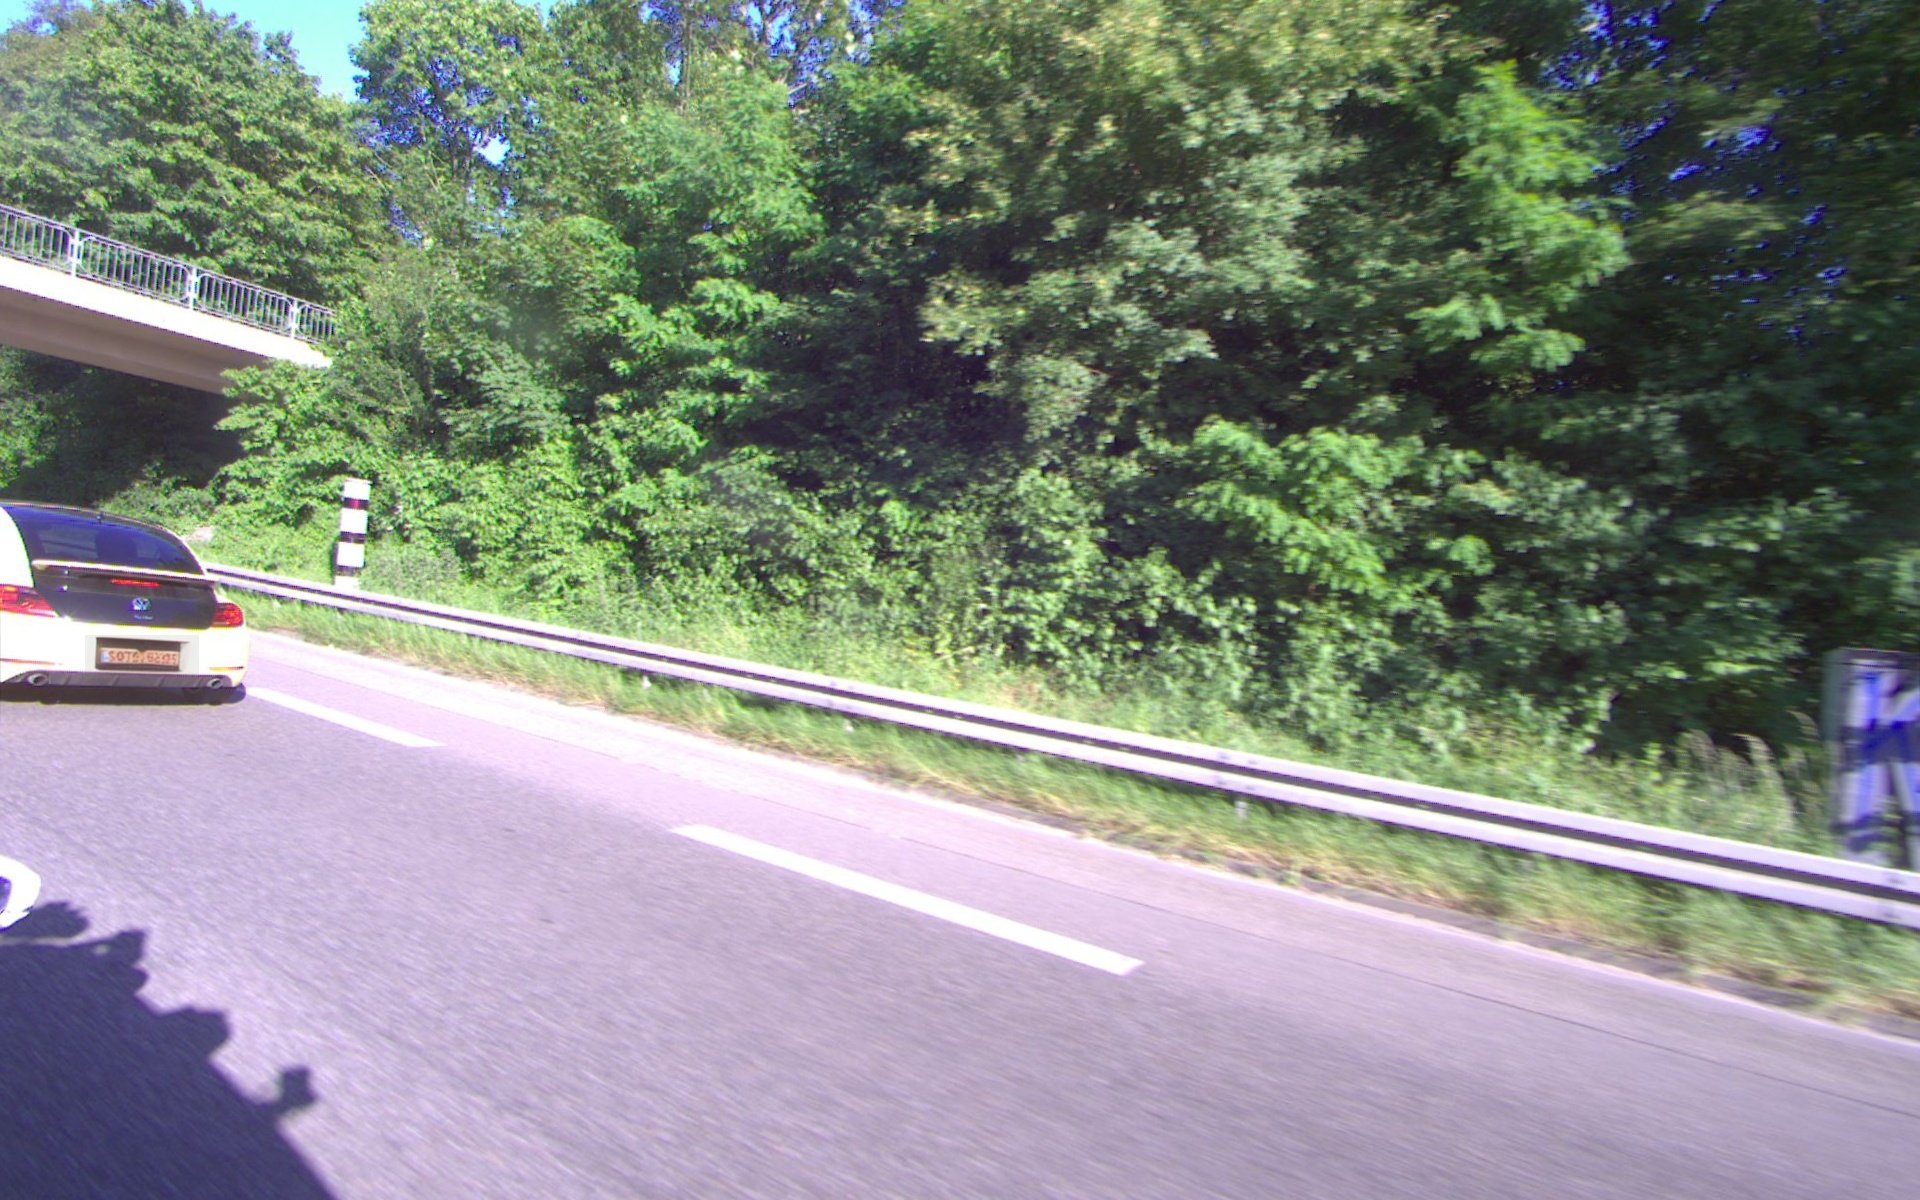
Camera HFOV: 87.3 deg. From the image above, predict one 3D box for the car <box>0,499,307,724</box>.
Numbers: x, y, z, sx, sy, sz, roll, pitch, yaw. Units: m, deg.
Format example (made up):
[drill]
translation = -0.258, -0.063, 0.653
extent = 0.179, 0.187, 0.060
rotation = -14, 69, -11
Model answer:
[car]
translation = -7.748, -0.055, 8.541
extent = 4.282, 1.479, 1.883
rotation = 7, -1, 31
